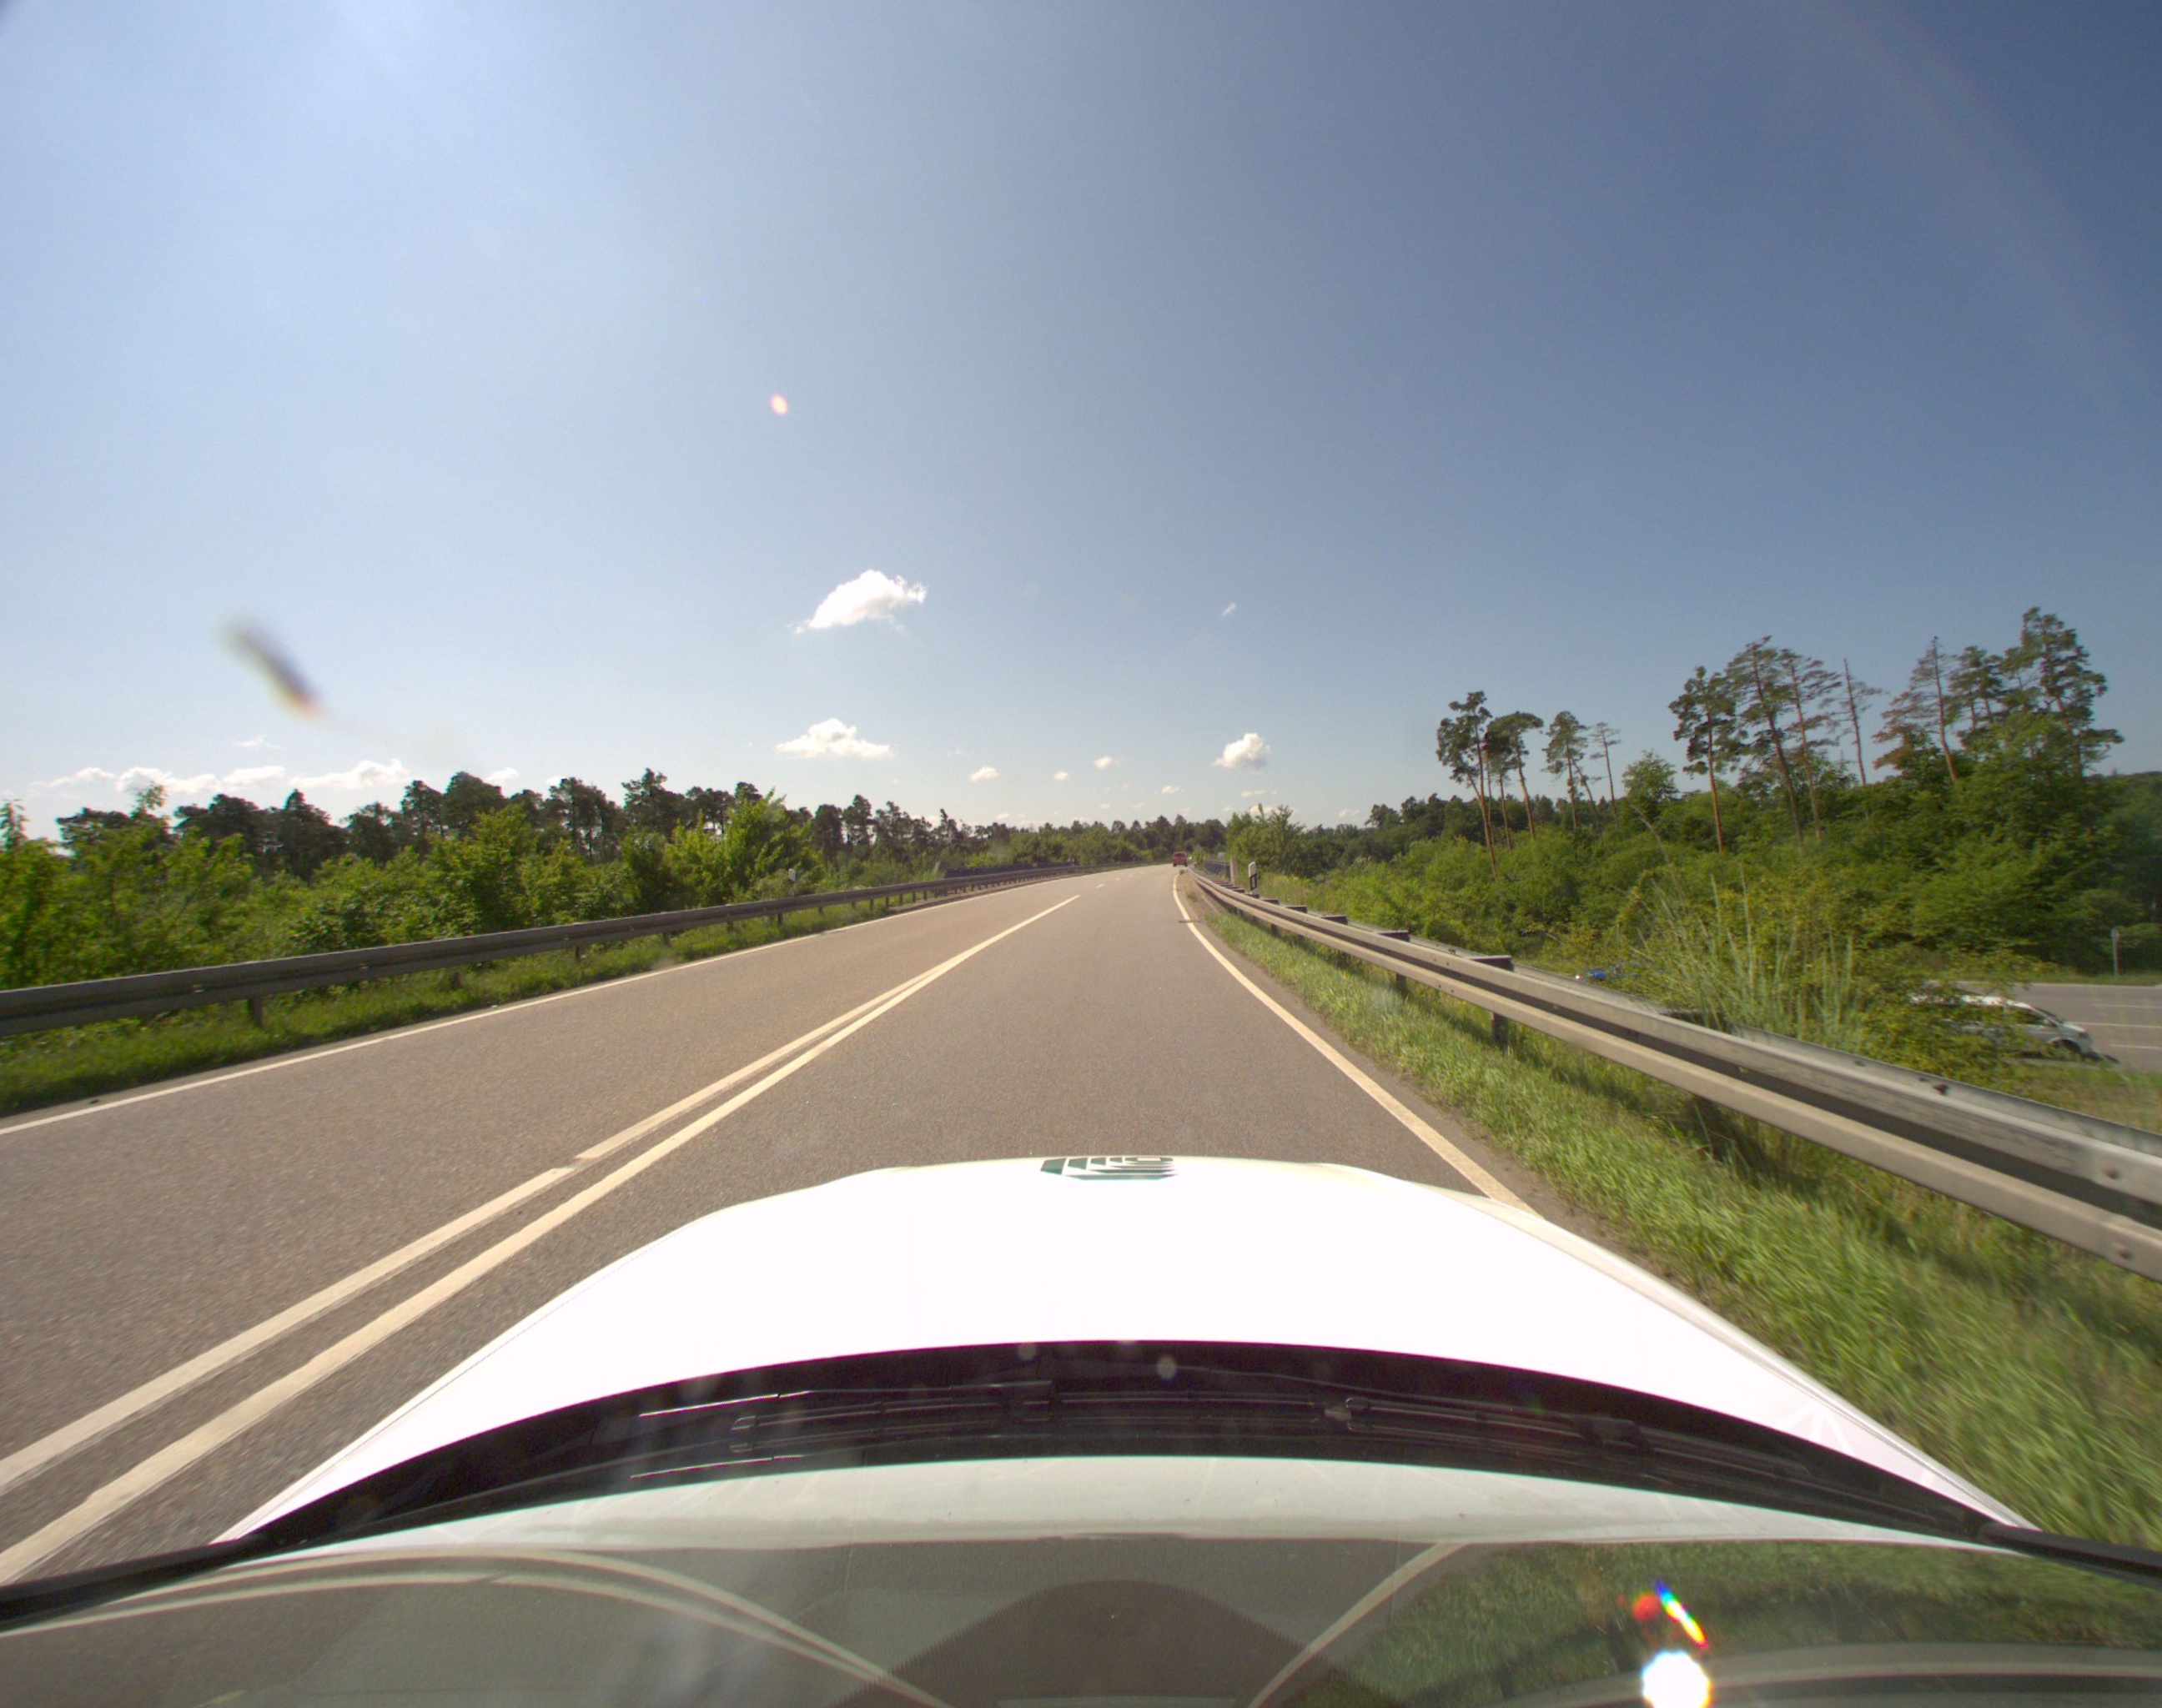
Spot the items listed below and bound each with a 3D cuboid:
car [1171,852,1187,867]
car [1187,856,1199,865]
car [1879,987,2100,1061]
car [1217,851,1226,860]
[{"bbox_3d":[13.767,0.754,113.905,2.066,1.993,5.123,0,-1,8],"label":"car"},{"bbox_3d":[18.651,1.031,135.679,1.996,1.494,4.248,0,-1,8],"label":"car"},{"bbox_3d":[33.818,6.285,30.573,5.167,1.964,1.919,-3,2,30],"label":"car"},{"bbox_3d":[33.391,0.330,193.260,2.171,1.955,5.820,0,0,10],"label":"car"}]
